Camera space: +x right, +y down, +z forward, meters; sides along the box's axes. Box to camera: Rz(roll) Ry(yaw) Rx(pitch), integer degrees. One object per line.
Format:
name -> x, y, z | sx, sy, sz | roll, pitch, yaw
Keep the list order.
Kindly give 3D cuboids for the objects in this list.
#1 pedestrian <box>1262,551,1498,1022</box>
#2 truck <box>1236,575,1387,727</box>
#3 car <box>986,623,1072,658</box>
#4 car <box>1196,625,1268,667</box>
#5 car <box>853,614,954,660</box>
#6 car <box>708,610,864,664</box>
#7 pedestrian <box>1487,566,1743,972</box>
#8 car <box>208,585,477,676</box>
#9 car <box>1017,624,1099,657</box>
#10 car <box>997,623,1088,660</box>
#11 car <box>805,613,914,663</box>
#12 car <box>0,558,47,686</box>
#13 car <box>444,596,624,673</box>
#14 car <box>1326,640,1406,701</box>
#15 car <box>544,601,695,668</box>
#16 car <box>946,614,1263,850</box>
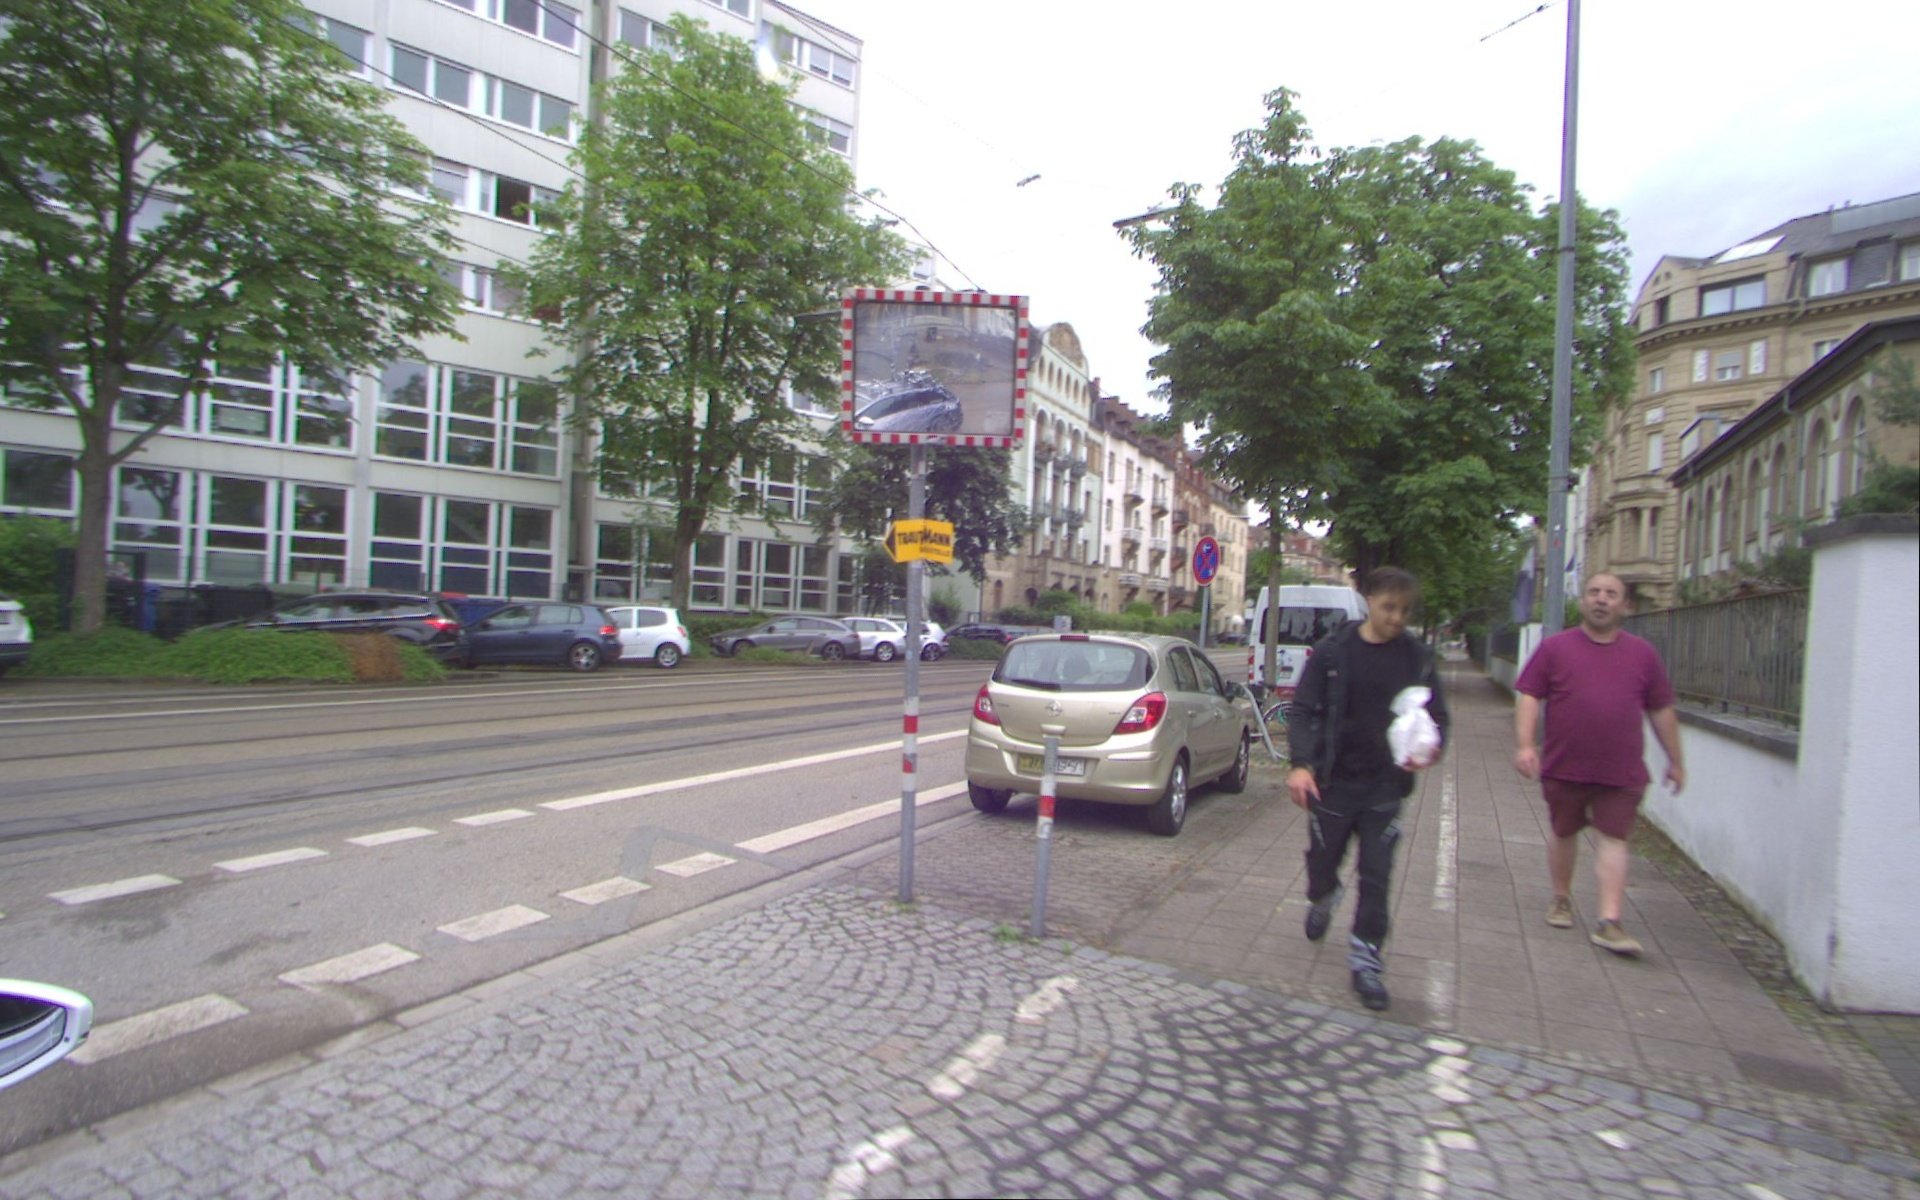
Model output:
pedestrian -> 1.766, 0.699, 4.304 | 0.789, 1.740, 0.954 | 2, -1, 21
truck -> 7.163, 0.970, 20.033 | 2.135, 2.579, 4.912 | 2, -1, 27
car -> 3.280, 1.922, 47.674 | 3.726, 1.461, 1.691 | 3, -1, -12
car -> 12.290, 2.056, 45.004 | 1.969, 1.725, 4.582 | 2, -1, 30
car -> -2.043, 1.321, 36.007 | 3.331, 1.493, 1.414 | 3, 0, -17
car -> -5.255, 1.150, 30.319 | 4.424, 1.492, 1.414 | 2, -3, -21
pedestrian -> 3.148, 0.743, 4.925 | 0.794, 1.740, 0.954 | 2, 0, 21
car -> -11.137, 0.560, 18.377 | 3.888, 1.493, 1.669 | 2, 0, -21
car -> 4.921, 2.033, 50.317 | 3.726, 1.461, 1.691 | 3, -1, -12
car -> 3.707, 1.869, 45.238 | 3.726, 1.461, 1.691 | 3, -1, -12
car -> -3.333, 1.261, 33.192 | 3.331, 1.493, 1.414 | 3, -1, -17
car -> -13.887, 0.214, 12.459 | 3.347, 1.639, 1.554 | 2, 0, -15
car -> -8.969, 0.725, 21.334 | 3.331, 1.493, 1.414 | 2, 0, -17
car -> 10.798, 1.802, 26.519 | 1.782, 1.371, 3.801 | 2, -1, 24
car -> -8.180, 0.831, 24.257 | 3.331, 1.493, 1.414 | 2, 0, -17
car -> 1.447, 0.962, 8.691 | 1.639, 1.520, 3.583 | 2, -1, 26
